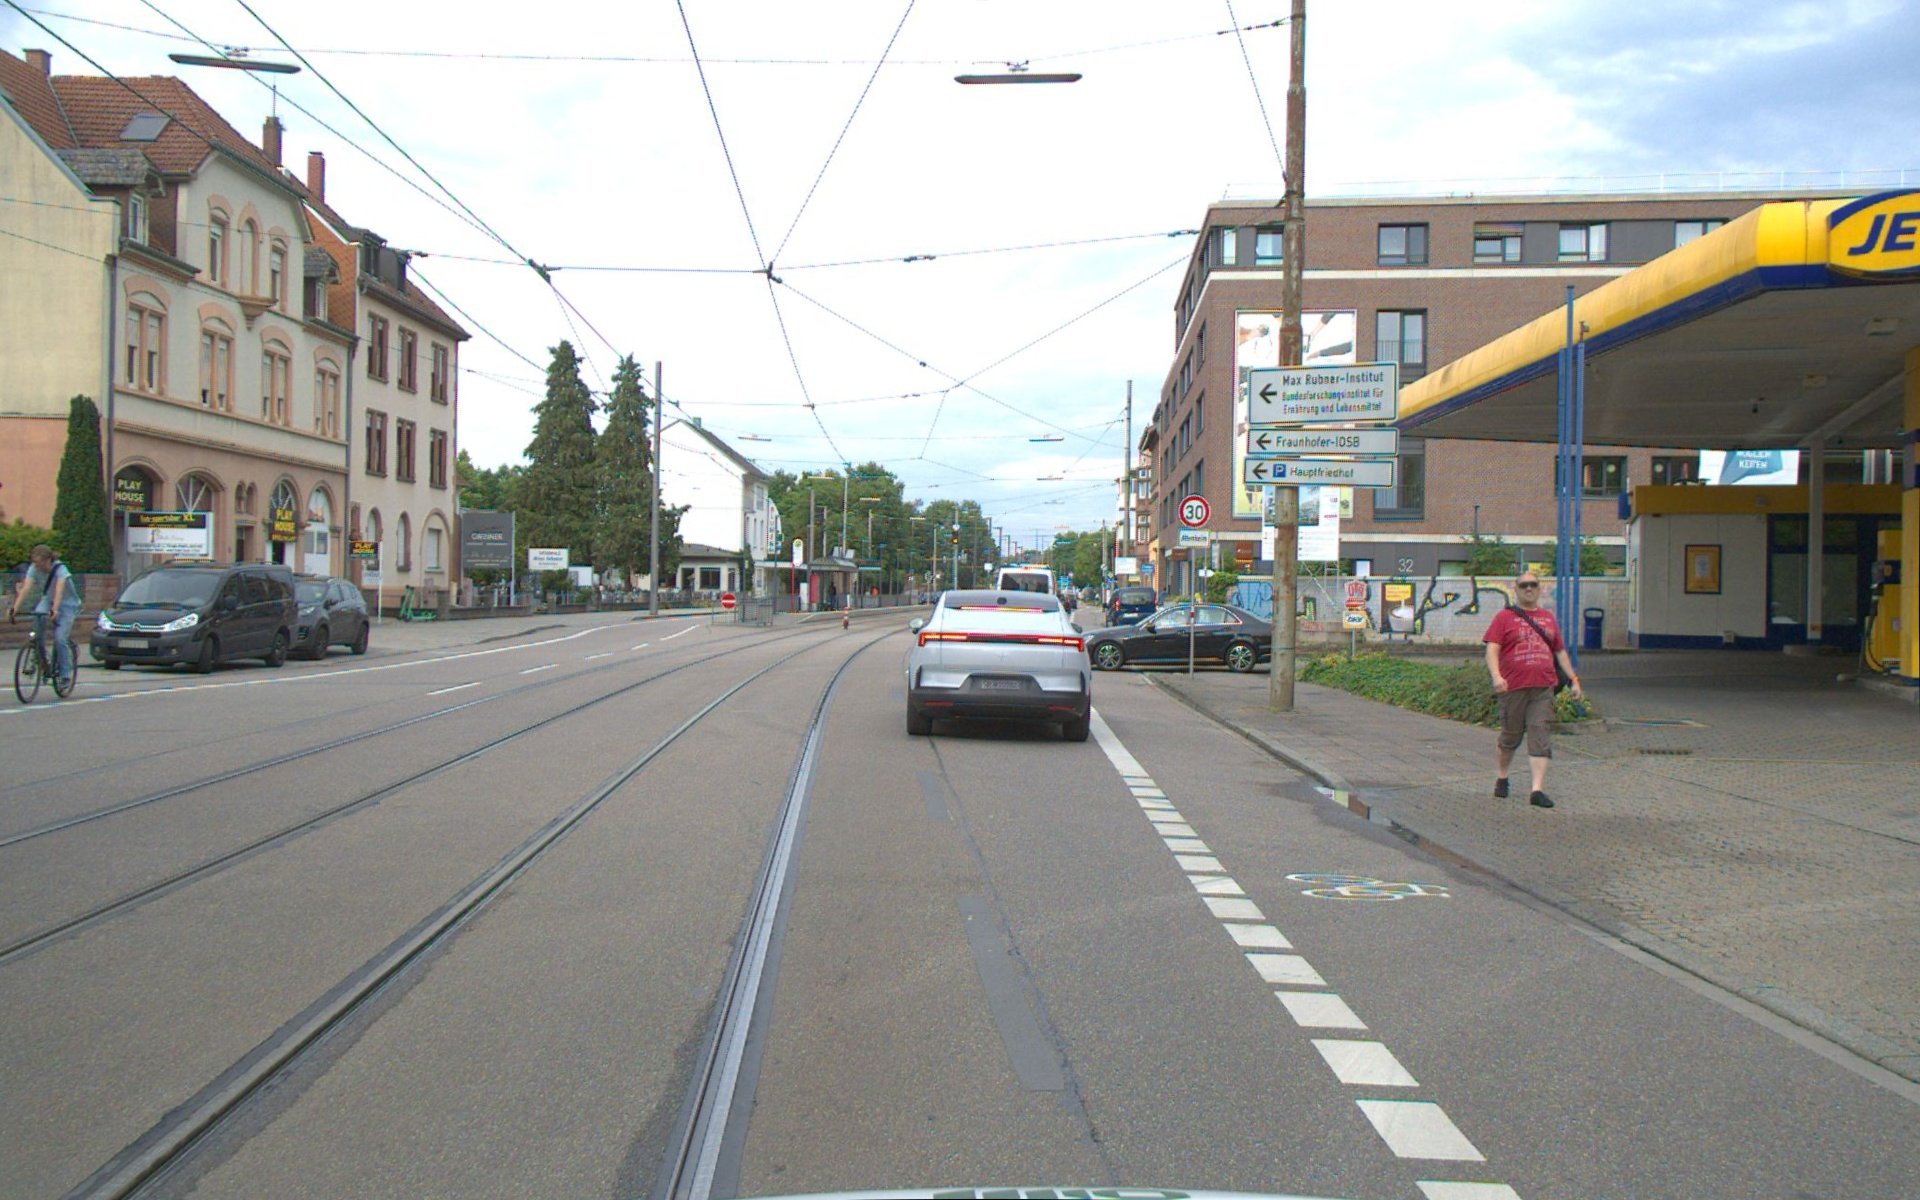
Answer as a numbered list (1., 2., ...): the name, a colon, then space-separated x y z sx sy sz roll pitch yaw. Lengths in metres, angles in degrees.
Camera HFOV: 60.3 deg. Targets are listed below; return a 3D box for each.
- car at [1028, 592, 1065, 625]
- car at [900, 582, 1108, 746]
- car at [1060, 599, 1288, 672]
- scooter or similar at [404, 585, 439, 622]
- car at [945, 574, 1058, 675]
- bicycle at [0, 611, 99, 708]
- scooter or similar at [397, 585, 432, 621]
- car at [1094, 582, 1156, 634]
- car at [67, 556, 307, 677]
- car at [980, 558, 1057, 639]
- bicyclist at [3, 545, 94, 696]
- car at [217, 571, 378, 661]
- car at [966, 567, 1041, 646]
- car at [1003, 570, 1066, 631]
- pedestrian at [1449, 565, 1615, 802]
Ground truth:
1. car: 5.653 0.531 108.768 1.954 2.049 3.997 2 0 -4
2. car: 0.370 0.629 18.669 1.942 1.577 4.180 2 0 -3
3. car: 4.673 0.739 35.813 4.766 1.452 1.955 1 0 11
4. scooter or similar: -18.204 0.114 55.931 1.040 1.209 0.314 2 -1 -36
5. car: 0.741 0.458 32.334 1.929 1.787 3.836 2 0 -2
6. bicycle: -11.054 0.698 20.099 0.577 1.092 1.950 0 0 -13
7. scooter or similar: -18.593 0.104 56.378 1.040 1.209 0.314 2 -1 -36
8. car: 6.226 0.311 62.659 1.836 1.855 4.095 2 0 -1
9. car: -13.740 0.287 29.778 1.951 1.920 4.997 2 0 -1
10. car: 1.856 -0.044 54.364 2.172 2.465 4.950 2 0 -1
11. bicyclist: -11.057 0.239 20.100 0.723 1.780 0.975 0 0 -14
12. car: -14.177 0.334 35.652 1.807 1.748 4.191 2 0 -2
13. car: 1.187 0.179 46.640 1.953 2.049 4.000 2 0 0
14. car: 2.828 0.043 63.824 2.096 2.183 4.743 2 0 0
15. pedestrian: 4.443 0.631 12.914 0.952 1.769 0.861 -1 -1 -1
